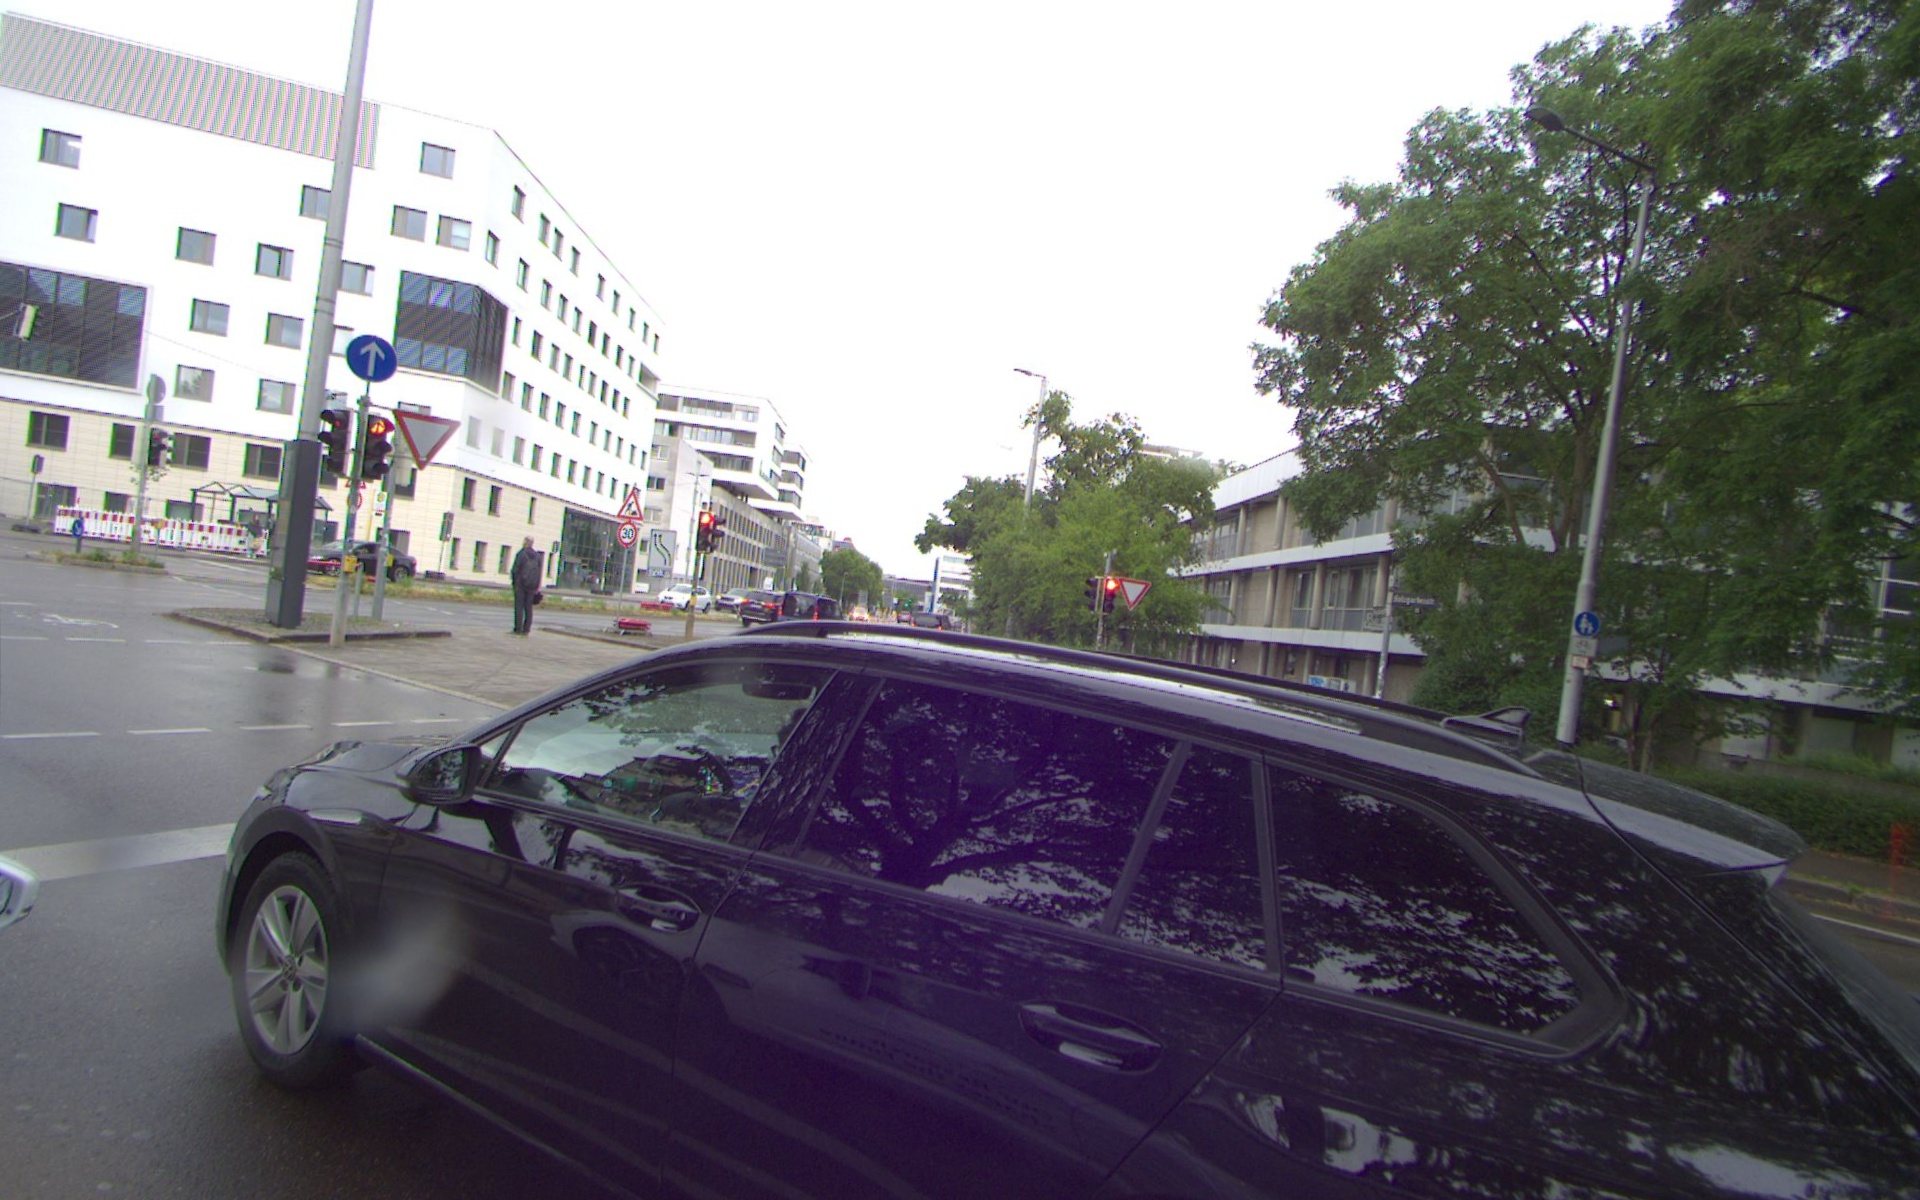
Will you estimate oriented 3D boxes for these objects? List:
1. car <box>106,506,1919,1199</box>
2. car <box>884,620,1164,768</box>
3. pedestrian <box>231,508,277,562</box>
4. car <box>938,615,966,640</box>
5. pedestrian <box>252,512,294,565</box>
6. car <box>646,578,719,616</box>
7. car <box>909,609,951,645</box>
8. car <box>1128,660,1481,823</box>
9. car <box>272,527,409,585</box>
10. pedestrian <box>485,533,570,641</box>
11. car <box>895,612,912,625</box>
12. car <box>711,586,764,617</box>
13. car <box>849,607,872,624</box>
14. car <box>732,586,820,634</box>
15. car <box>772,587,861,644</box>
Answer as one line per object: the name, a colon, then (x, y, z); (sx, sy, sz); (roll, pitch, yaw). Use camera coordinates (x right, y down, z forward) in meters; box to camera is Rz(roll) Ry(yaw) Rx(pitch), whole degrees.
car: (-0.281, 0.777, 2.736); (4.436, 1.483, 1.673); (8, -1, 31)
car: (0.763, 1.263, 14.407); (1.851, 1.466, 3.964); (9, -2, -34)
pedestrian: (-26.834, -2.480, 38.234); (0.808, 1.861, 0.955); (6, -2, 20)
car: (-0.629, 2.202, 81.434); (1.963, 1.693, 4.972); (7, -1, 1)
pedestrian: (-27.738, -2.481, 40.628); (0.941, 1.957, 1.001); (5, -2, 41)
car: (-14.869, -0.128, 54.166); (1.764, 1.460, 4.006); (8, -3, 17)
car: (-1.748, 1.661, 60.330); (1.963, 1.829, 4.791); (8, -2, 3)
car: (4.697, 1.913, 14.323); (1.853, 1.467, 4.359); (9, -2, -37)
car: (-22.735, -1.569, 37.086); (1.764, 1.460, 4.006); (8, -3, 17)
pedestrian: (-8.319, -0.248, 19.370); (1.009, 1.913, 0.830); (6, -2, 23)
car: (-8.190, 2.726, 145.843); (1.836, 1.669, 4.775); (7, -3, -8)
car: (-14.849, 0.139, 67.396); (1.962, 1.684, 4.391); (8, -1, 7)
car: (-10.531, 1.611, 106.386); (1.935, 1.466, 4.154); (9, -2, -10)
car: (-8.202, 0.497, 45.367); (1.764, 1.726, 4.691); (8, -1, 17)
car: (-5.837, 0.701, 41.369); (1.764, 1.930, 4.312); (8, -1, 17)
